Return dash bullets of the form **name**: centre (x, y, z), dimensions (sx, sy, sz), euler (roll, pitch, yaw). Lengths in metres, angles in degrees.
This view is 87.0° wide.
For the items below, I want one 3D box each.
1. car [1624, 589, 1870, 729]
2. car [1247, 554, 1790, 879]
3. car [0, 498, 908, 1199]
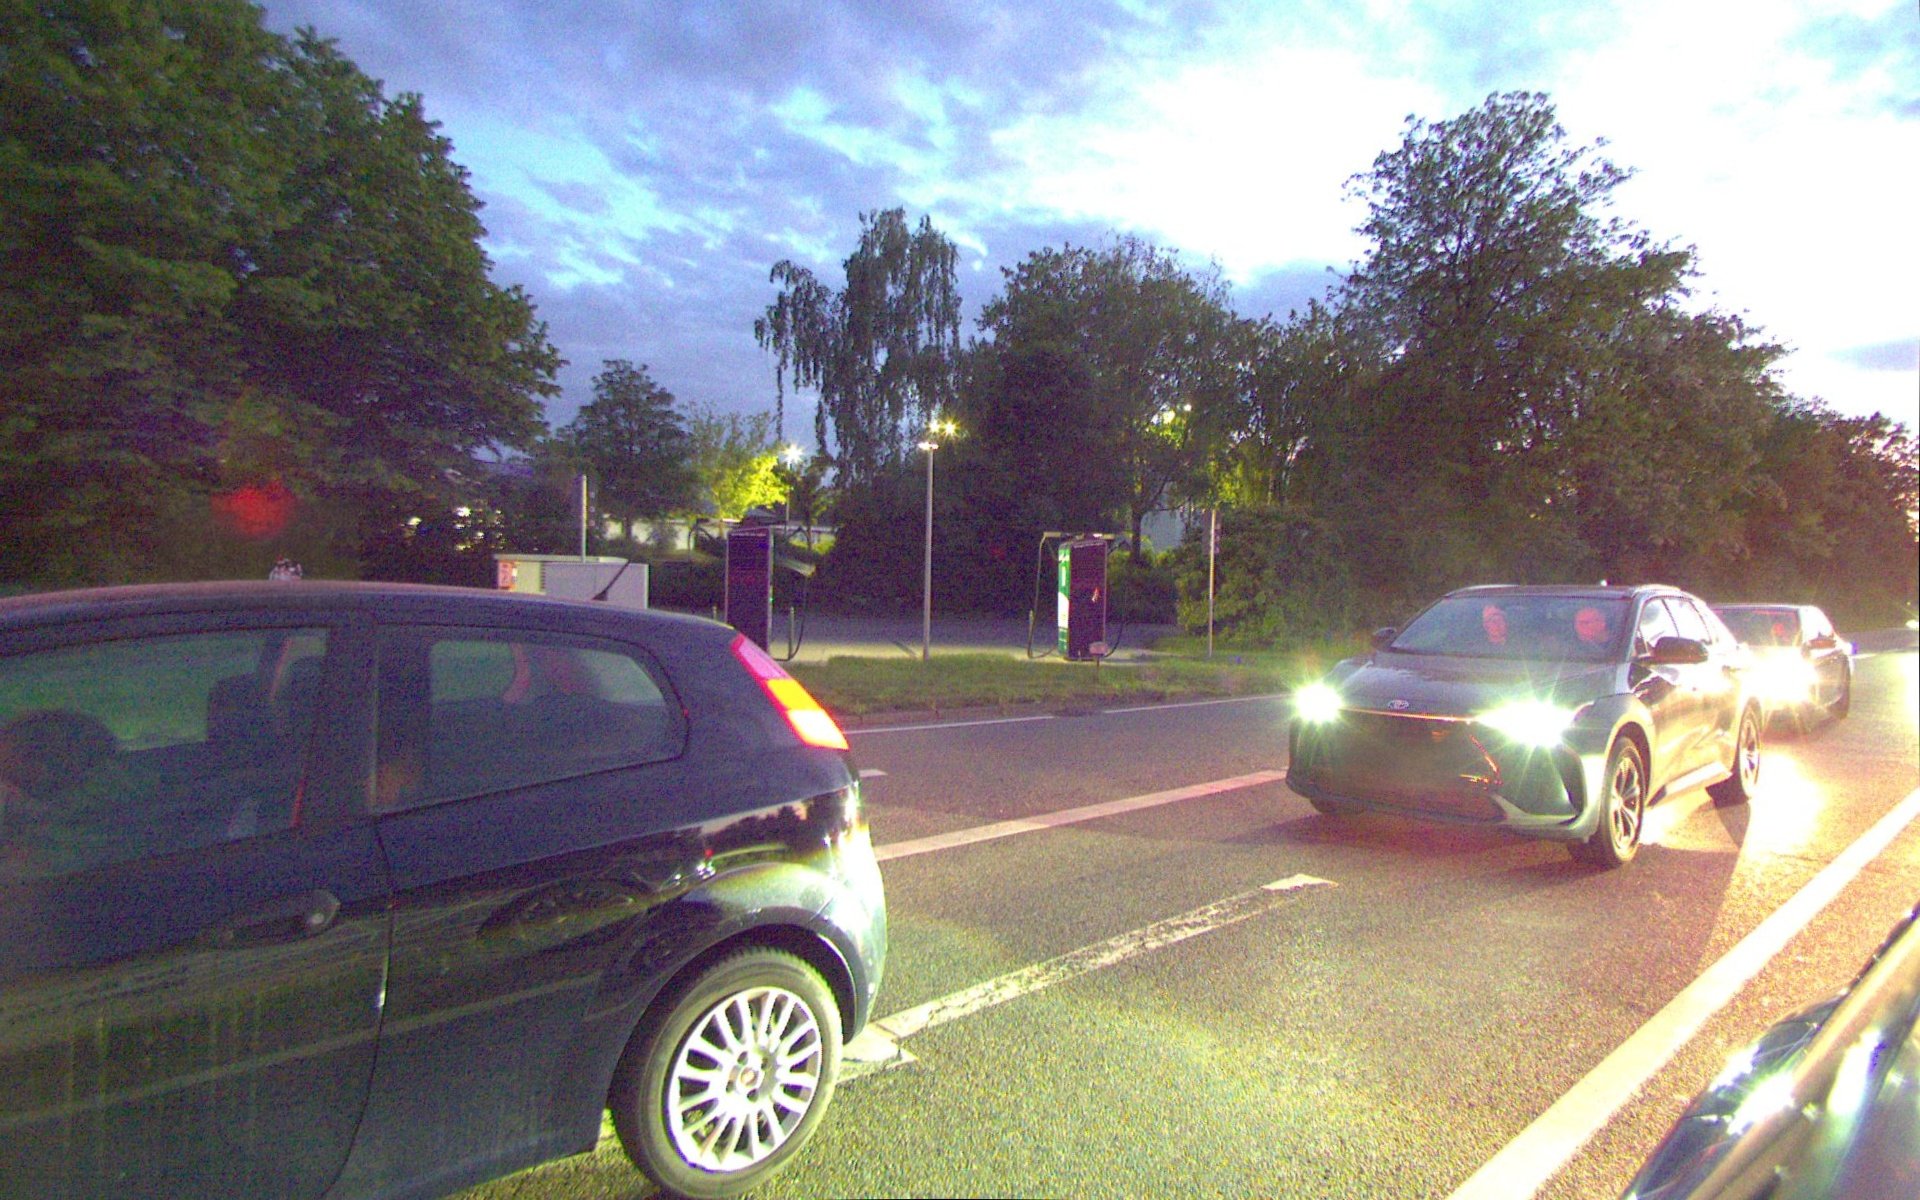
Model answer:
- **car**: centre (9.690, 0.626, 12.371), dimensions (3.688, 1.431, 1.621), euler (1, 1, -40)
- **car**: centre (4.040, 0.595, 7.024), dimensions (4.223, 1.577, 1.901), euler (1, -1, -40)
- **car**: centre (-2.073, 0.607, 2.195), dimensions (3.648, 1.556, 1.662), euler (1, 0, -40)
